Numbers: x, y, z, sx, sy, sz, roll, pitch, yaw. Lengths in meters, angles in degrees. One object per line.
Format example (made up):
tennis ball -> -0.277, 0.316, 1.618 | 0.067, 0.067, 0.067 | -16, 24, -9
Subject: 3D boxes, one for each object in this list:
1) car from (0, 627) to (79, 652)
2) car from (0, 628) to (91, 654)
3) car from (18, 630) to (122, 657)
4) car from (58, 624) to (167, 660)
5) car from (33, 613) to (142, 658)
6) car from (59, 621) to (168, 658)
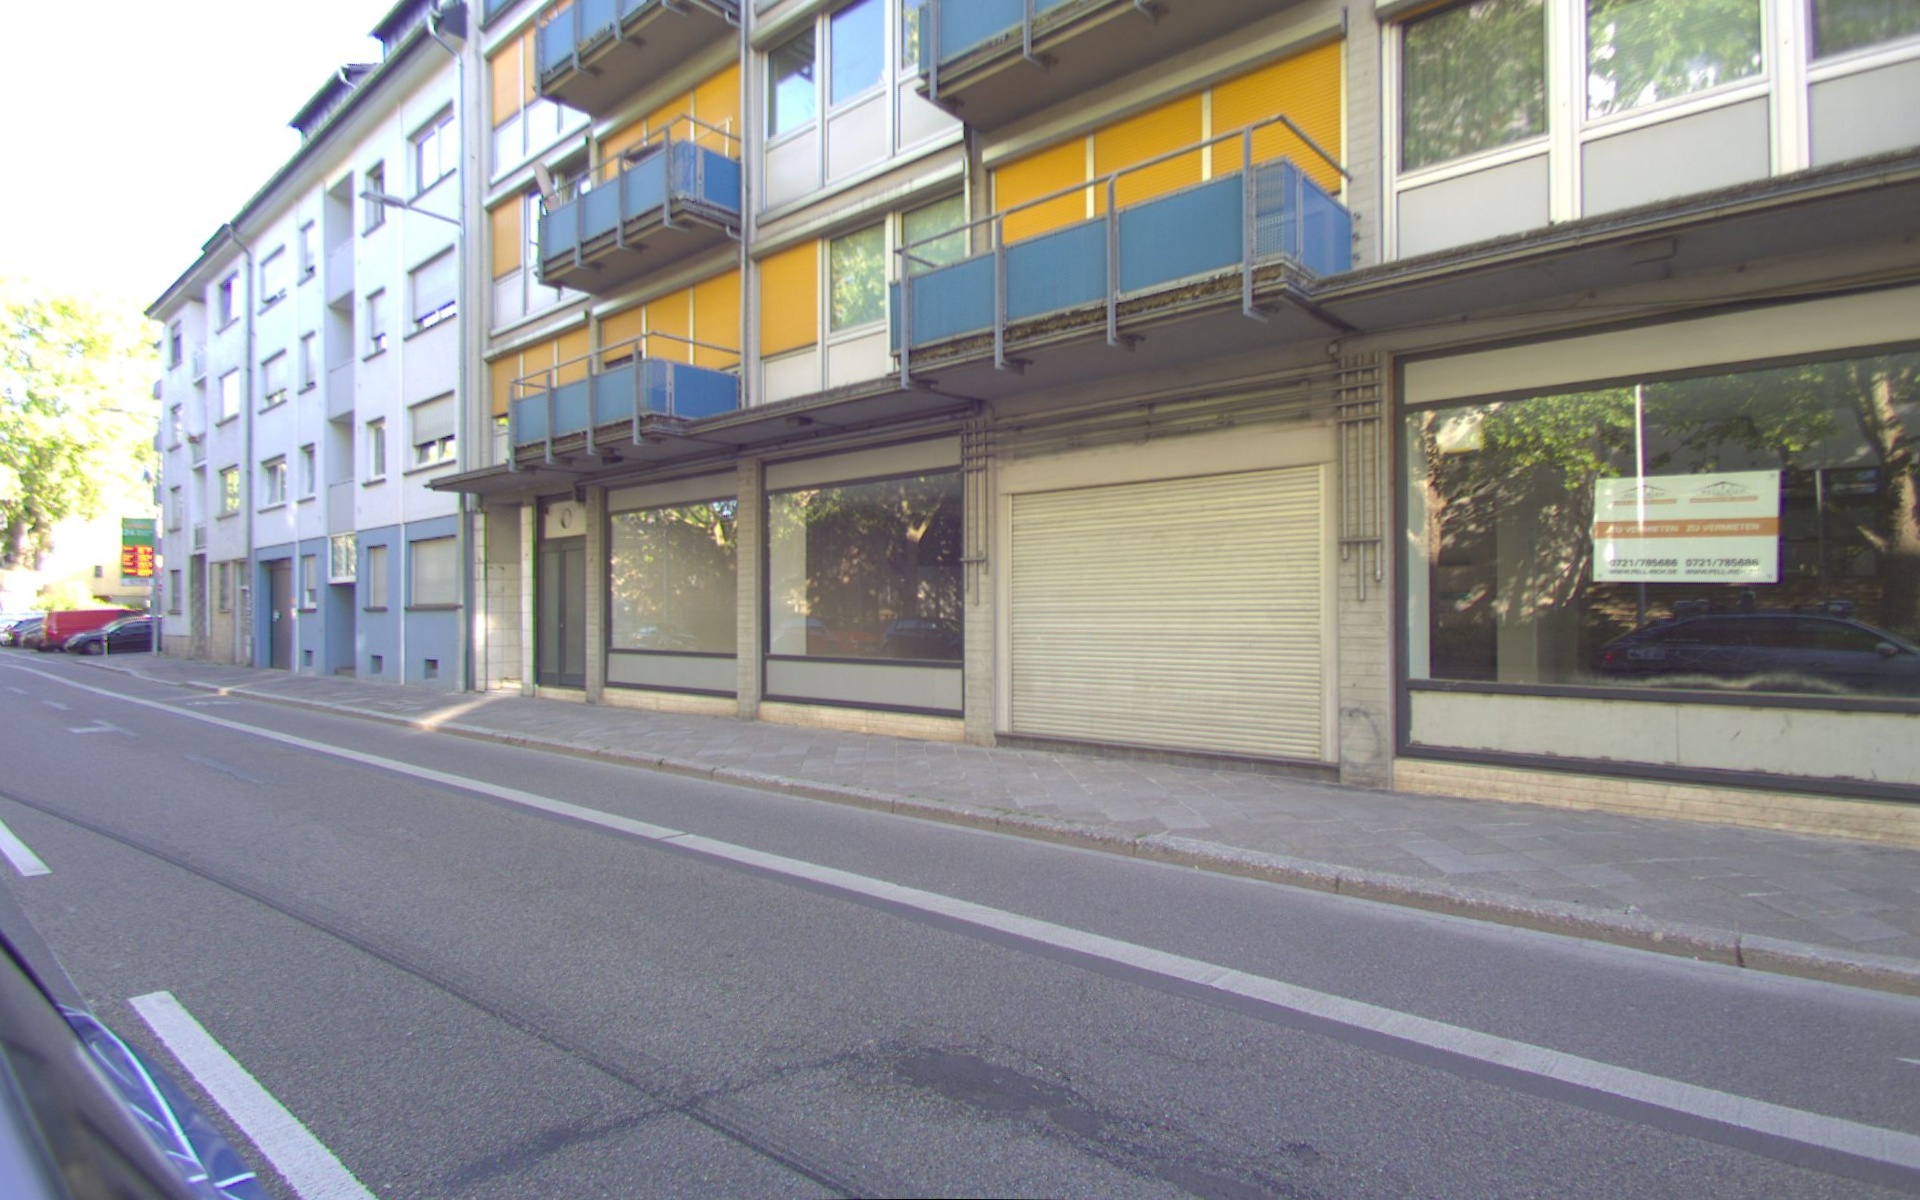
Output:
car -> -52.259, 2.235, 57.499 | 1.345, 1.254, 3.228 | -1, 0, 43
car -> -50.445, 2.228, 55.869 | 1.345, 1.254, 3.638 | -1, 0, 43
car -> -42.813, 2.060, 48.733 | 1.345, 1.137, 3.638 | -1, 0, 43
car -> -36.675, 1.797, 43.839 | 1.490, 1.398, 3.462 | -1, 0, 43
car -> -40.651, 1.635, 47.218 | 1.488, 1.923, 3.642 | -4, -2, 39
car -> -38.191, 1.755, 45.719 | 1.490, 1.523, 3.638 | -1, 0, 43
